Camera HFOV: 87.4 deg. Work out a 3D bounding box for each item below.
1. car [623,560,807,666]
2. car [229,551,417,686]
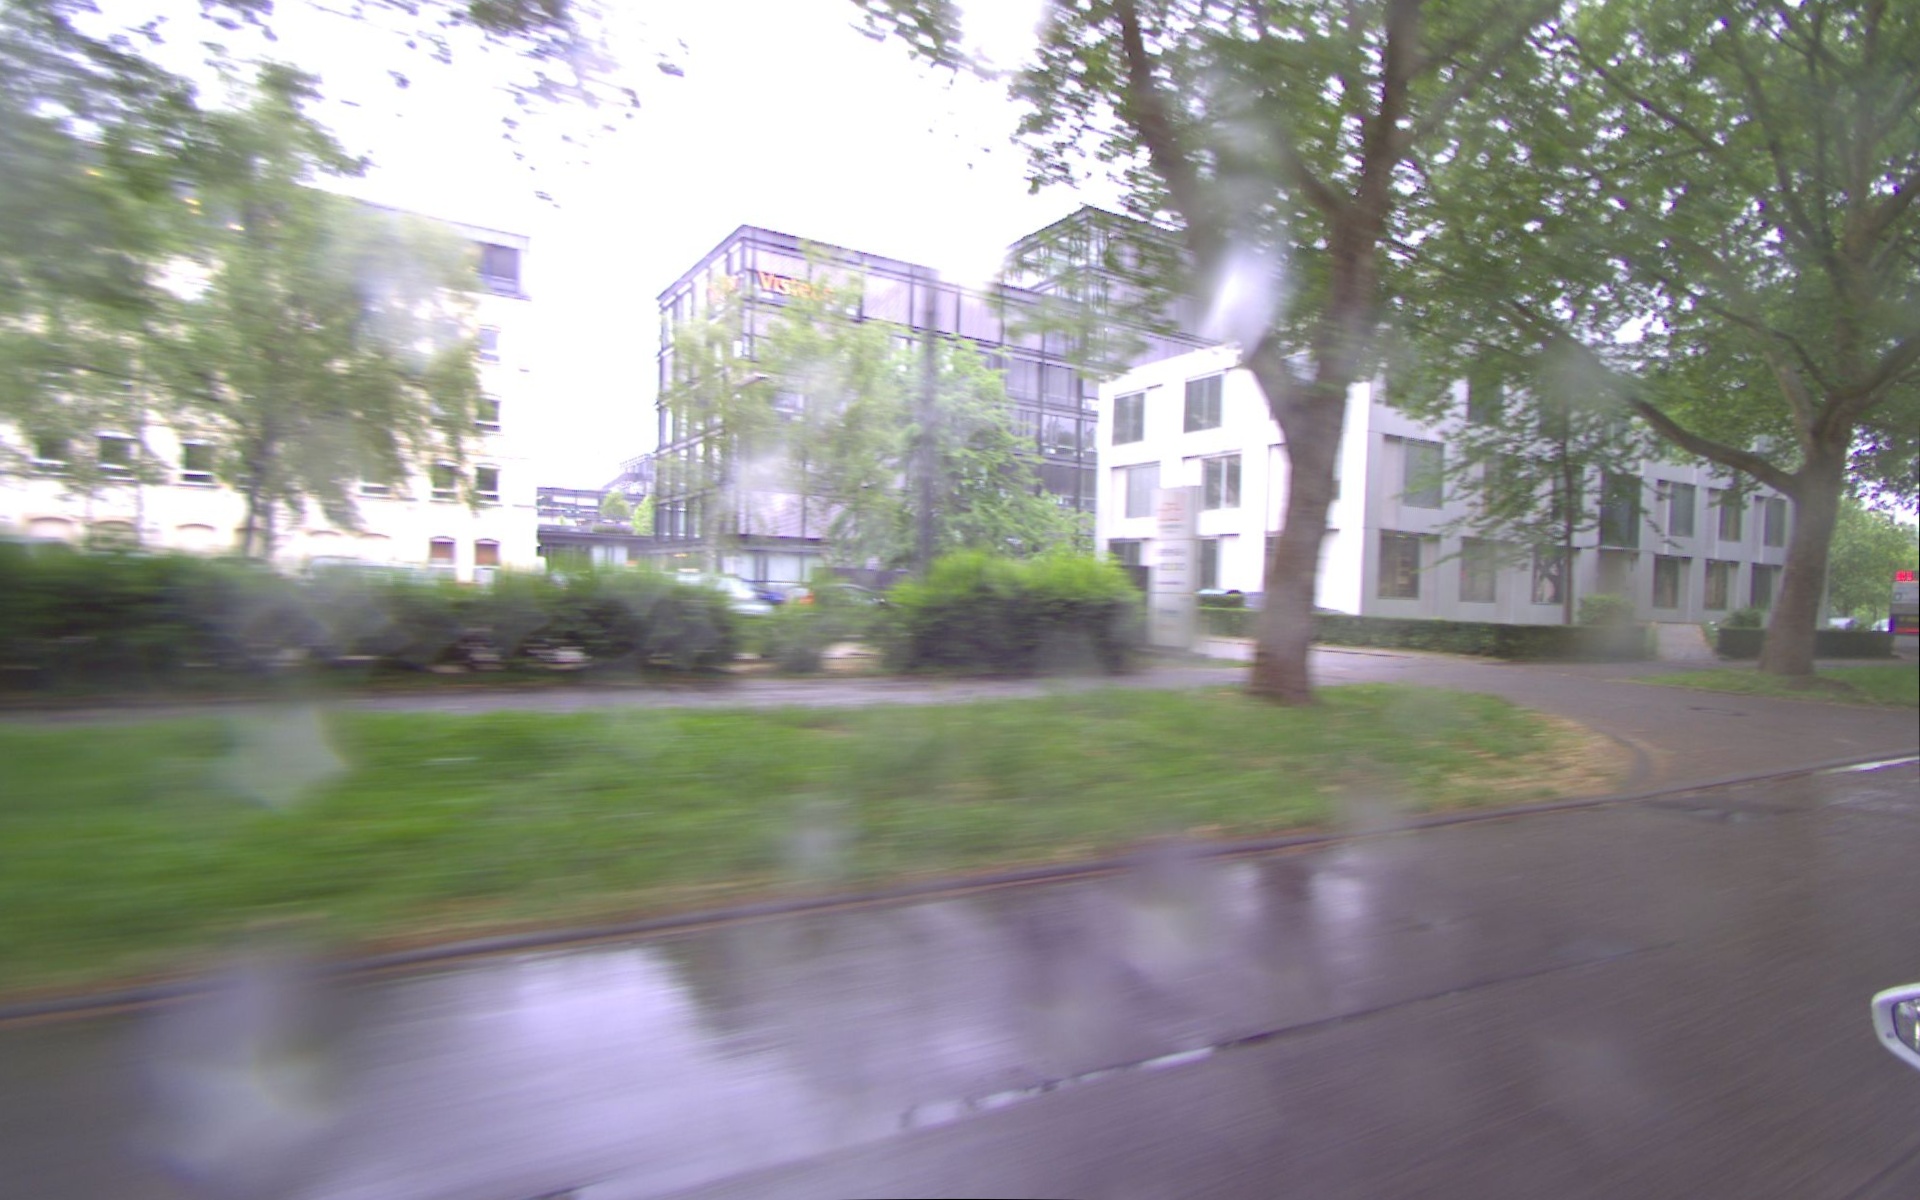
[{"bbox_3d":[-4.395,0.259,17.600,1.978,1.615,3.965,1,-2,-32],"label":"car"},{"bbox_3d":[-8.984,0.279,14.261,1.978,1.615,3.965,1,-2,-32],"label":"car"}]
